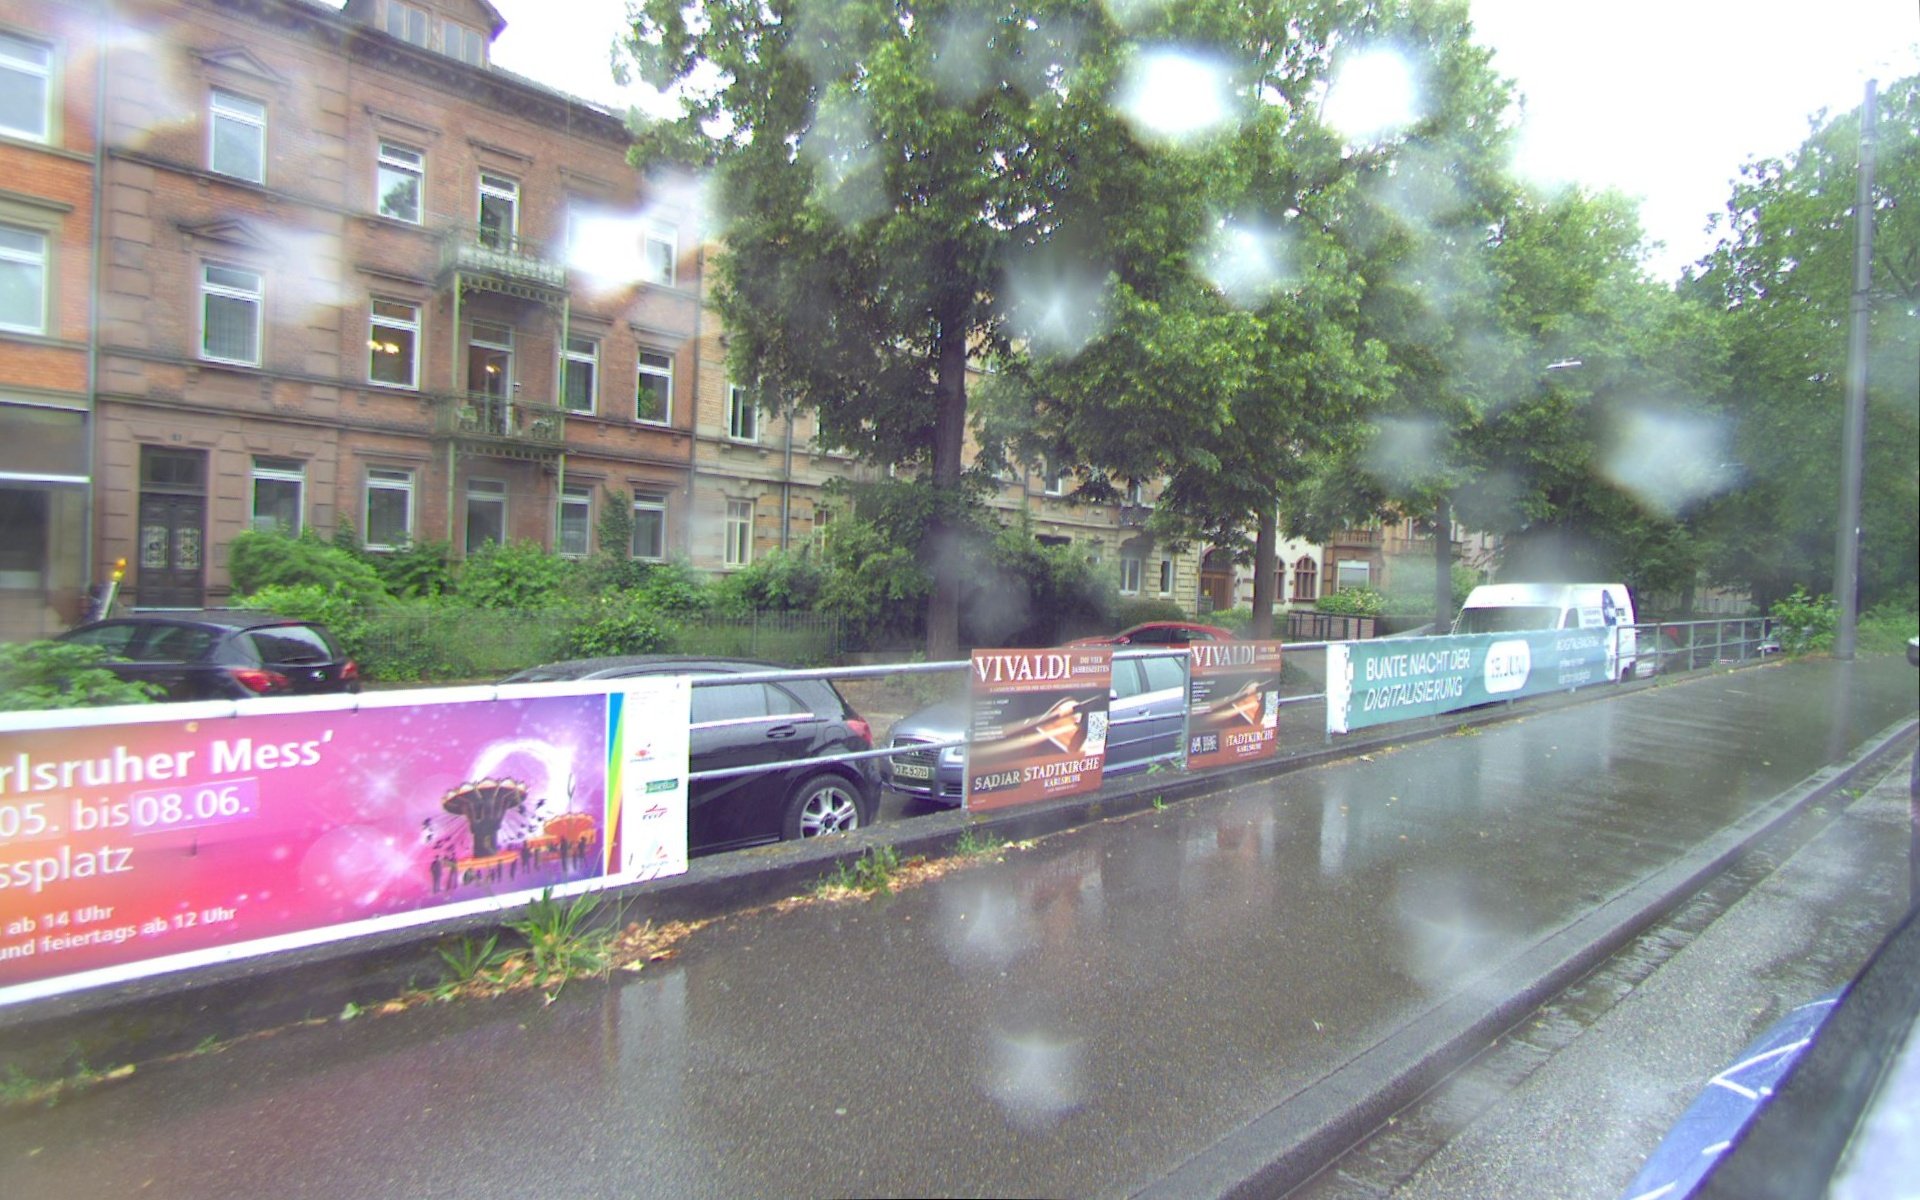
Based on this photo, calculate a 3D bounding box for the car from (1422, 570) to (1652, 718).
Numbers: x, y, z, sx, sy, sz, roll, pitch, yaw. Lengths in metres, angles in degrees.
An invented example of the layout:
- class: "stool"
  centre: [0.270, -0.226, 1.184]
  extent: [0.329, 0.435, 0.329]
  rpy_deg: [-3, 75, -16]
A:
- class: "car"
  centre: [11.362, 0.718, 19.668]
  extent: [6.055, 2.451, 2.211]
  rpy_deg: [0, 0, -43]

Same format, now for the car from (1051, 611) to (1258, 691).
- class: "car"
  centre: [4.389, 1.083, 22.733]
  extent: [4.372, 1.471, 1.888]
  rpy_deg: [2, 1, 18]

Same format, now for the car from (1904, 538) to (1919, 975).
- class: "car"
  centre: [5.619, 0.606, 4.405]
  extent: [3.612, 1.687, 1.755]
  rpy_deg: [0, 1, -39]

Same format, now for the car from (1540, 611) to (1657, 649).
- class: "car"
  centre: [28.497, 1.309, 45.295]
  extent: [3.942, 1.585, 1.991]
  rpy_deg: [0, 1, 15]

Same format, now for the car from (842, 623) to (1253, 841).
- class: "car"
  centre: [0.993, 1.059, 9.779]
  extent: [4.006, 1.559, 1.734]
  rpy_deg: [0, 0, -43]

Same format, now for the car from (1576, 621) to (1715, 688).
- class: "car"
  centre: [16.574, 1.243, 24.389]
  extent: [4.312, 1.370, 1.968]
  rpy_deg: [0, 0, -44]

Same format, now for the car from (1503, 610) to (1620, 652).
- class: "car"
  centre: [25.589, 1.288, 43.174]
  extent: [3.947, 1.629, 1.815]
  rpy_deg: [1, 1, 19]

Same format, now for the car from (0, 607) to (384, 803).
- class: "car"
  centre: [-8.551, 0.983, 11.144]
  extent: [3.959, 1.735, 1.983]
  rpy_deg: [1, 1, 26]

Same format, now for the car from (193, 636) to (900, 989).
- class: "car"
  centre: [-2.446, 1.035, 6.524]
  extent: [3.903, 1.417, 1.706]
  rpy_deg: [0, 1, -41]

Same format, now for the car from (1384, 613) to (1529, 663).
- class: "car"
  centre: [16.509, 1.236, 33.893]
  extent: [4.214, 1.397, 1.679]
  rpy_deg: [2, 2, 22]

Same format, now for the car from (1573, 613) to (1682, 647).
- class: "car"
  centre: [32.070, 1.426, 48.732]
  extent: [3.942, 1.482, 1.904]
  rpy_deg: [0, 1, 15]
